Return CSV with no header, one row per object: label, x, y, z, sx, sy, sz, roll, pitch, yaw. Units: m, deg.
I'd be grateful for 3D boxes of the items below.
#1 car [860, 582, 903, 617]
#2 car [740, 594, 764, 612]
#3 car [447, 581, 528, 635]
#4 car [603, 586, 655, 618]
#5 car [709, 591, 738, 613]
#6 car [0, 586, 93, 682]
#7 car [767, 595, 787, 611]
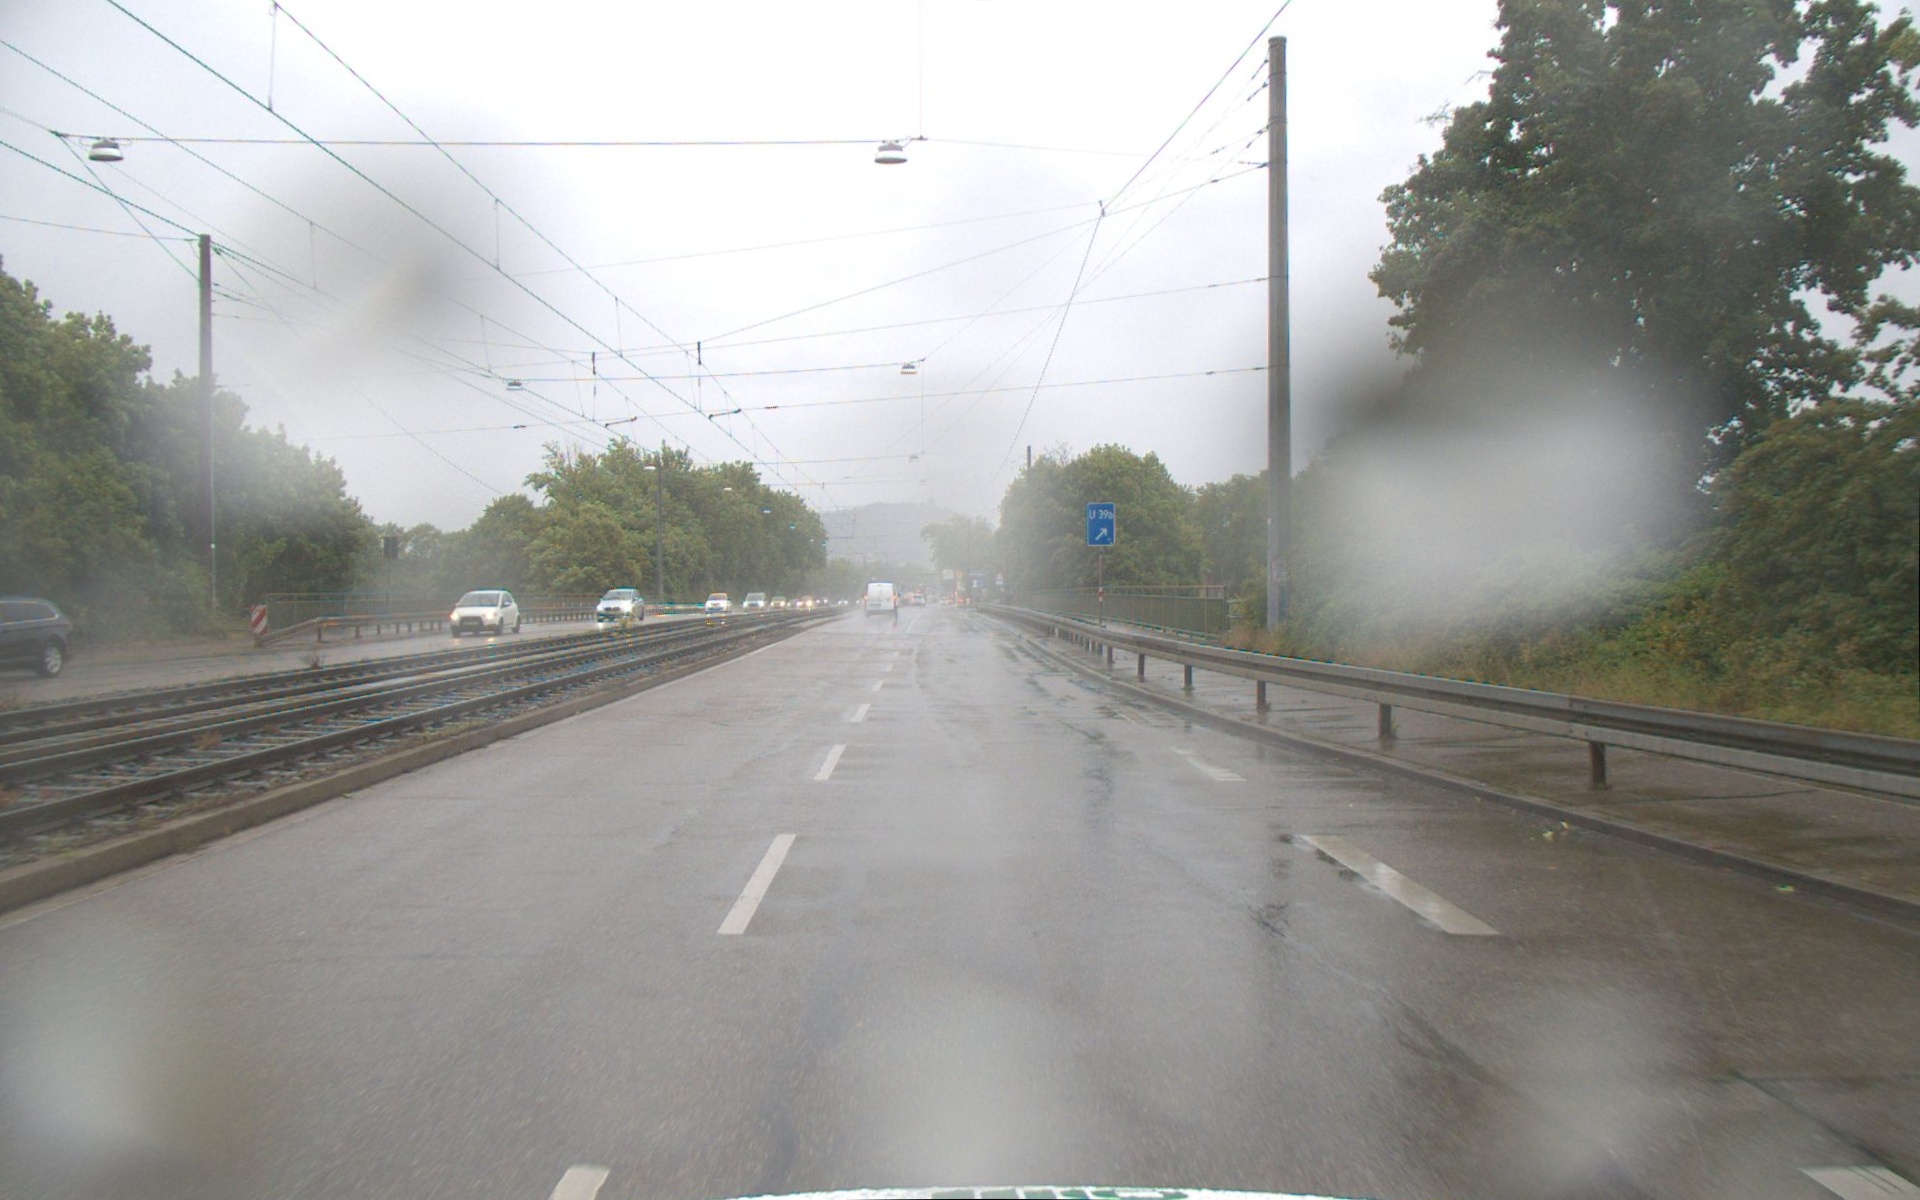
car,-4.035,-0.043,85.570,1.948,1.713,3.740,2,1,0
car,-18.402,0.260,146.637,1.708,1.534,3.699,2,1,-1
car,-16.441,0.254,57.717,1.719,1.741,3.999,2,1,-2
car,-16.625,0.094,83.174,1.761,1.478,4.194,2,1,0
car,-17.978,0.162,125.686,1.708,1.534,3.699,2,1,-1
car,-17.047,0.583,28.473,1.654,1.545,4.613,2,1,2
car,-19.075,0.292,172.268,1.708,1.534,3.699,2,1,-1
